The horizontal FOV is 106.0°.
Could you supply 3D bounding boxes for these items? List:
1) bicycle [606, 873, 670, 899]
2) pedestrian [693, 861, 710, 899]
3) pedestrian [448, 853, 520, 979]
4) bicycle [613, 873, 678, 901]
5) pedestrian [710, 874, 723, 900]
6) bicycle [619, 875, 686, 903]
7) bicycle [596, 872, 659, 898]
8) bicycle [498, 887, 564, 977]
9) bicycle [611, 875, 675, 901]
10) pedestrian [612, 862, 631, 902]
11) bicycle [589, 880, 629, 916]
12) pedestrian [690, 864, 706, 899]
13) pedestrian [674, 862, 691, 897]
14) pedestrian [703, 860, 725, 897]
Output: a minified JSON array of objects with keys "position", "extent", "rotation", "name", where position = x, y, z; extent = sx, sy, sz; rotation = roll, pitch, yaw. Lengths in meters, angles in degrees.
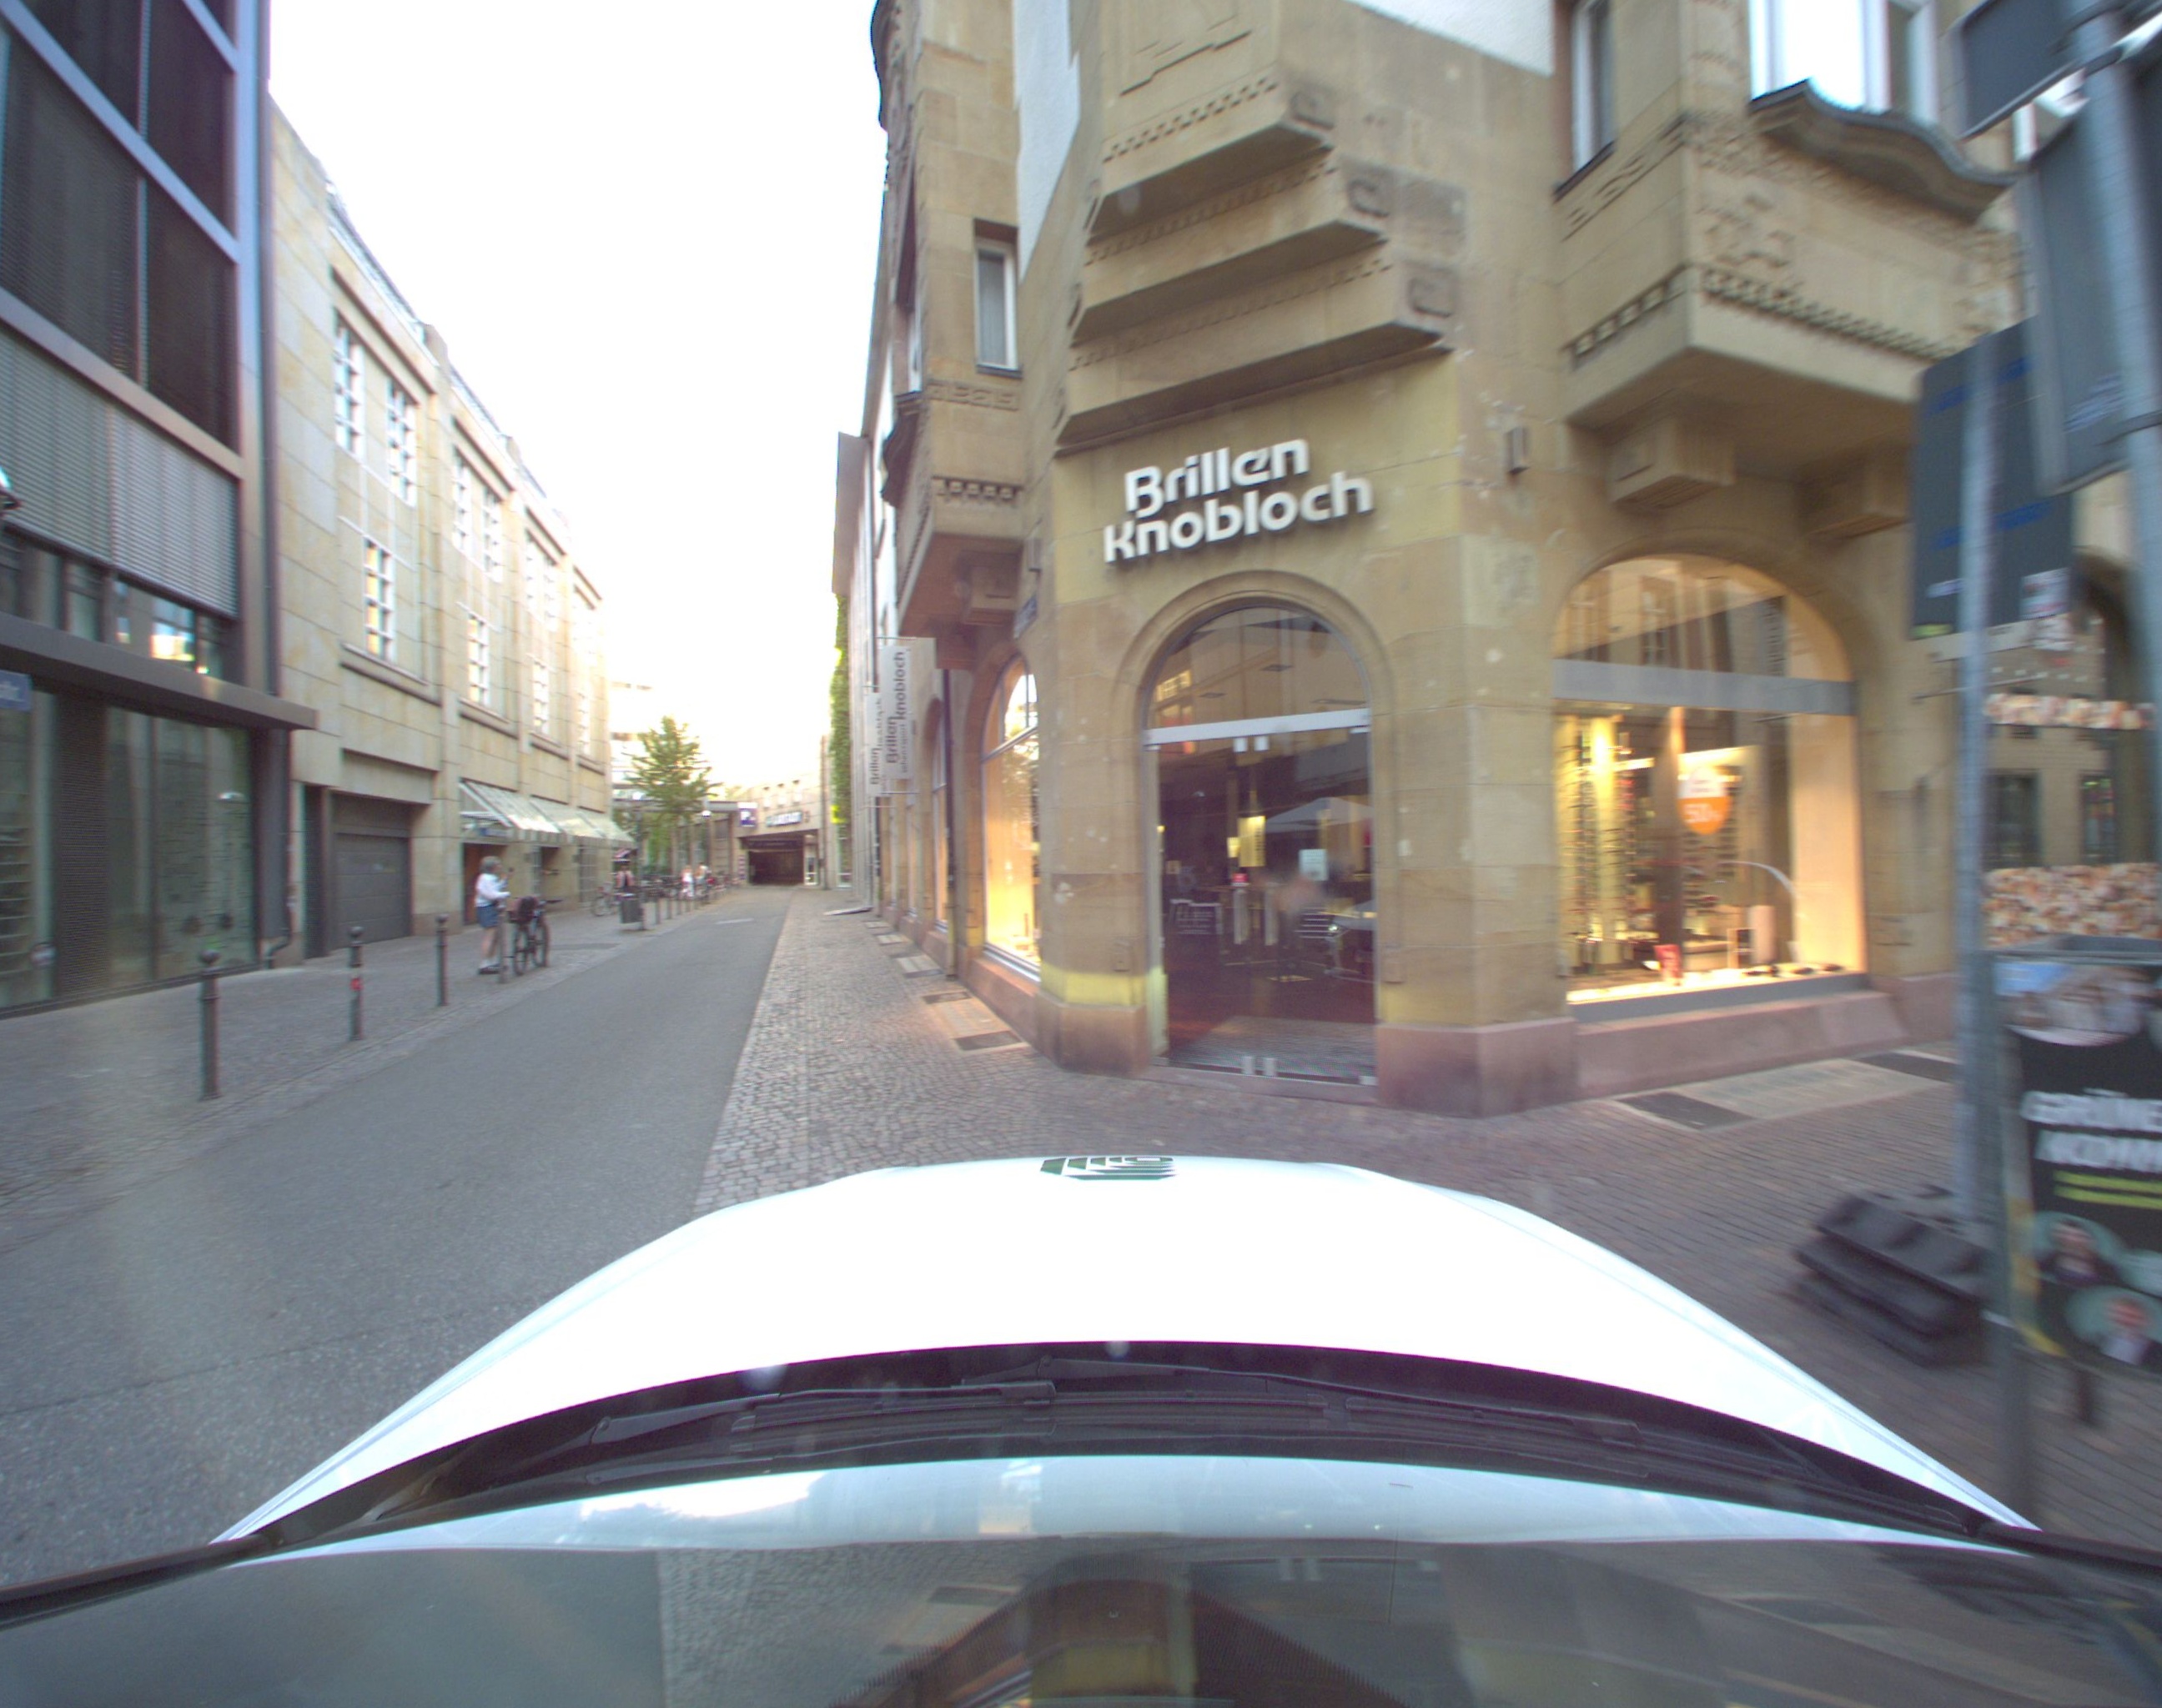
[{"position":[-22.665,1.627,41.681],"extent":[2.780,1.200,0.749],"rotation":[-2,0,-38],"name":"bicycle"},{"position":[-18.006,1.239,38.671],"extent":[0.632,1.757,0.794],"rotation":[-1,-1,-18],"name":"pedestrian"},{"position":[-8.961,0.898,12.256],"extent":[0.611,1.791,0.904],"rotation":[-2,0,-20],"name":"pedestrian"},{"position":[-21.605,1.617,40.442],"extent":[2.780,1.200,0.725],"rotation":[-2,0,-38],"name":"bicycle"},{"position":[-16.968,1.525,37.944],"extent":[0.467,1.168,0.518],"rotation":[-1,-1,-18],"name":"pedestrian"},{"position":[-20.680,1.671,39.345],"extent":[2.780,1.200,0.725],"rotation":[-2,0,-38],"name":"bicycle"},{"position":[-23.820,1.625,42.801],"extent":[2.780,1.200,0.725],"rotation":[-2,0,-38],"name":"bicycle"},{"position":[-8.493,1.159,12.627],"extent":[0.413,1.232,1.814],"rotation":[-2,0,-21],"name":"bicycle"},{"position":[-22.093,1.696,41.121],"extent":[2.780,1.200,0.725],"rotation":[-2,0,-38],"name":"bicycle"},{"position":[-20.716,1.258,36.696],"extent":[0.660,1.764,0.610],"rotation":[-2,0,-32],"name":"pedestrian"},{"position":[-15.858,1.468,27.397],"extent":[0.481,1.081,2.233],"rotation":[-2,0,-12],"name":"bicycle"},{"position":[-17.746,1.256,37.728],"extent":[0.586,1.604,0.624],"rotation":[-1,-1,-18],"name":"pedestrian"},{"position":[-18.406,1.166,37.612],"extent":[0.591,1.604,0.661],"rotation":[-1,-1,-18],"name":"pedestrian"},{"position":[-17.772,1.184,39.438],"extent":[0.866,1.757,0.794],"rotation":[-1,-1,-18],"name":"pedestrian"}]
